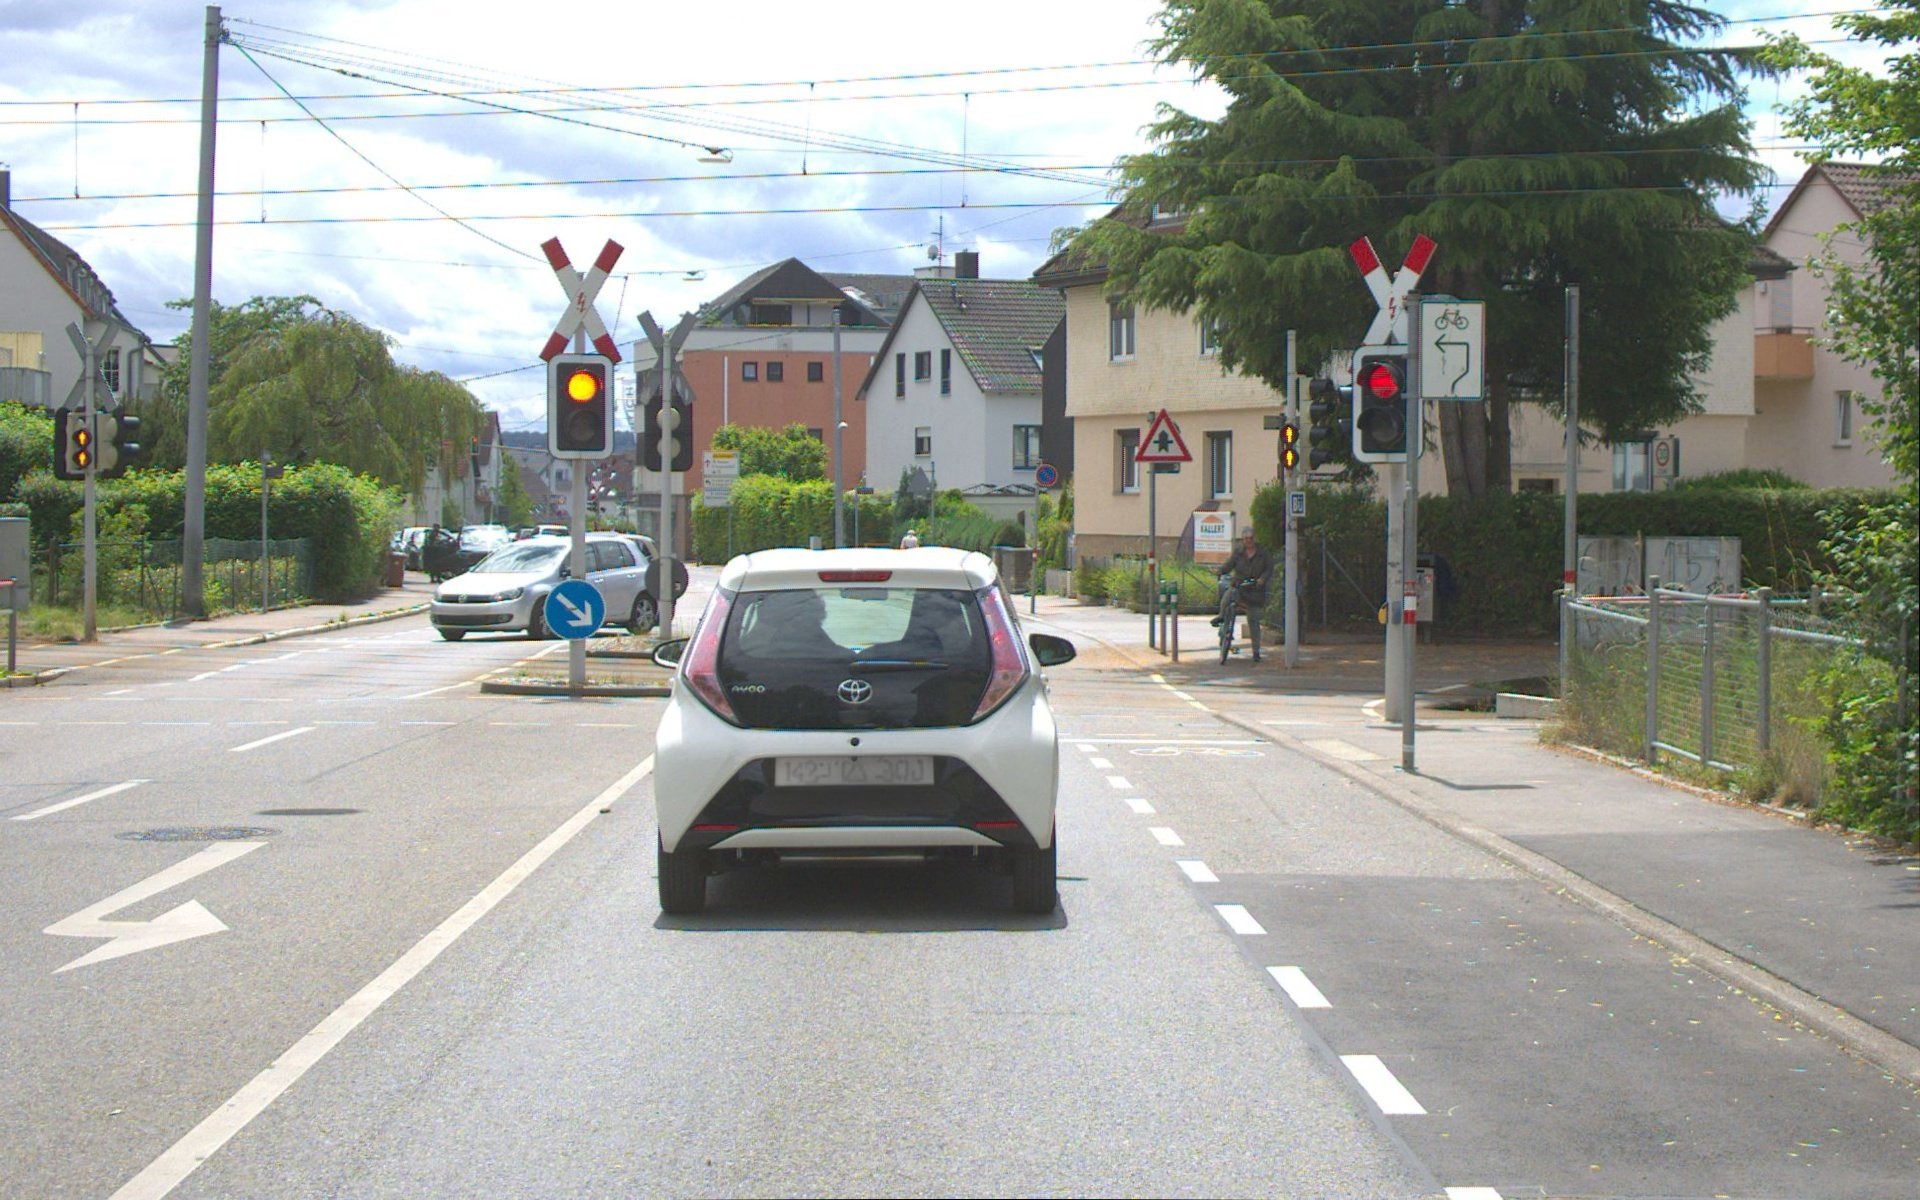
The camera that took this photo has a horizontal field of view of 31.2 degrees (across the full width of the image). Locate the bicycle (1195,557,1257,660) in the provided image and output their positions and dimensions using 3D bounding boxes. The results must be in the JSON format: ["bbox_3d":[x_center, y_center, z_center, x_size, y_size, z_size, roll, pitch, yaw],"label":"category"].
[{"bbox_3d":[3.267,0.093,42.348,0.457,1.168,1.480,-3,4,-6],"label":"bicycle"}]

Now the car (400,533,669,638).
[{"bbox_3d":[-6.201,-0.221,50.493,1.908,1.436,4.092,2,1,28],"label":"car"}]

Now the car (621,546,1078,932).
[{"bbox_3d":[-0.551,0.507,15.035,1.721,1.437,3.709,1,1,-4],"label":"car"}]

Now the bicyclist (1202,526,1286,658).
[{"bbox_3d":[3.486,-0.108,42.226,0.840,1.548,0.756,-3,3,-6],"label":"bicyclist"}]

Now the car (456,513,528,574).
[{"bbox_3d":[-13.785,-1.672,101.426,1.993,1.713,4.001,1,1,-7],"label":"car"}]
